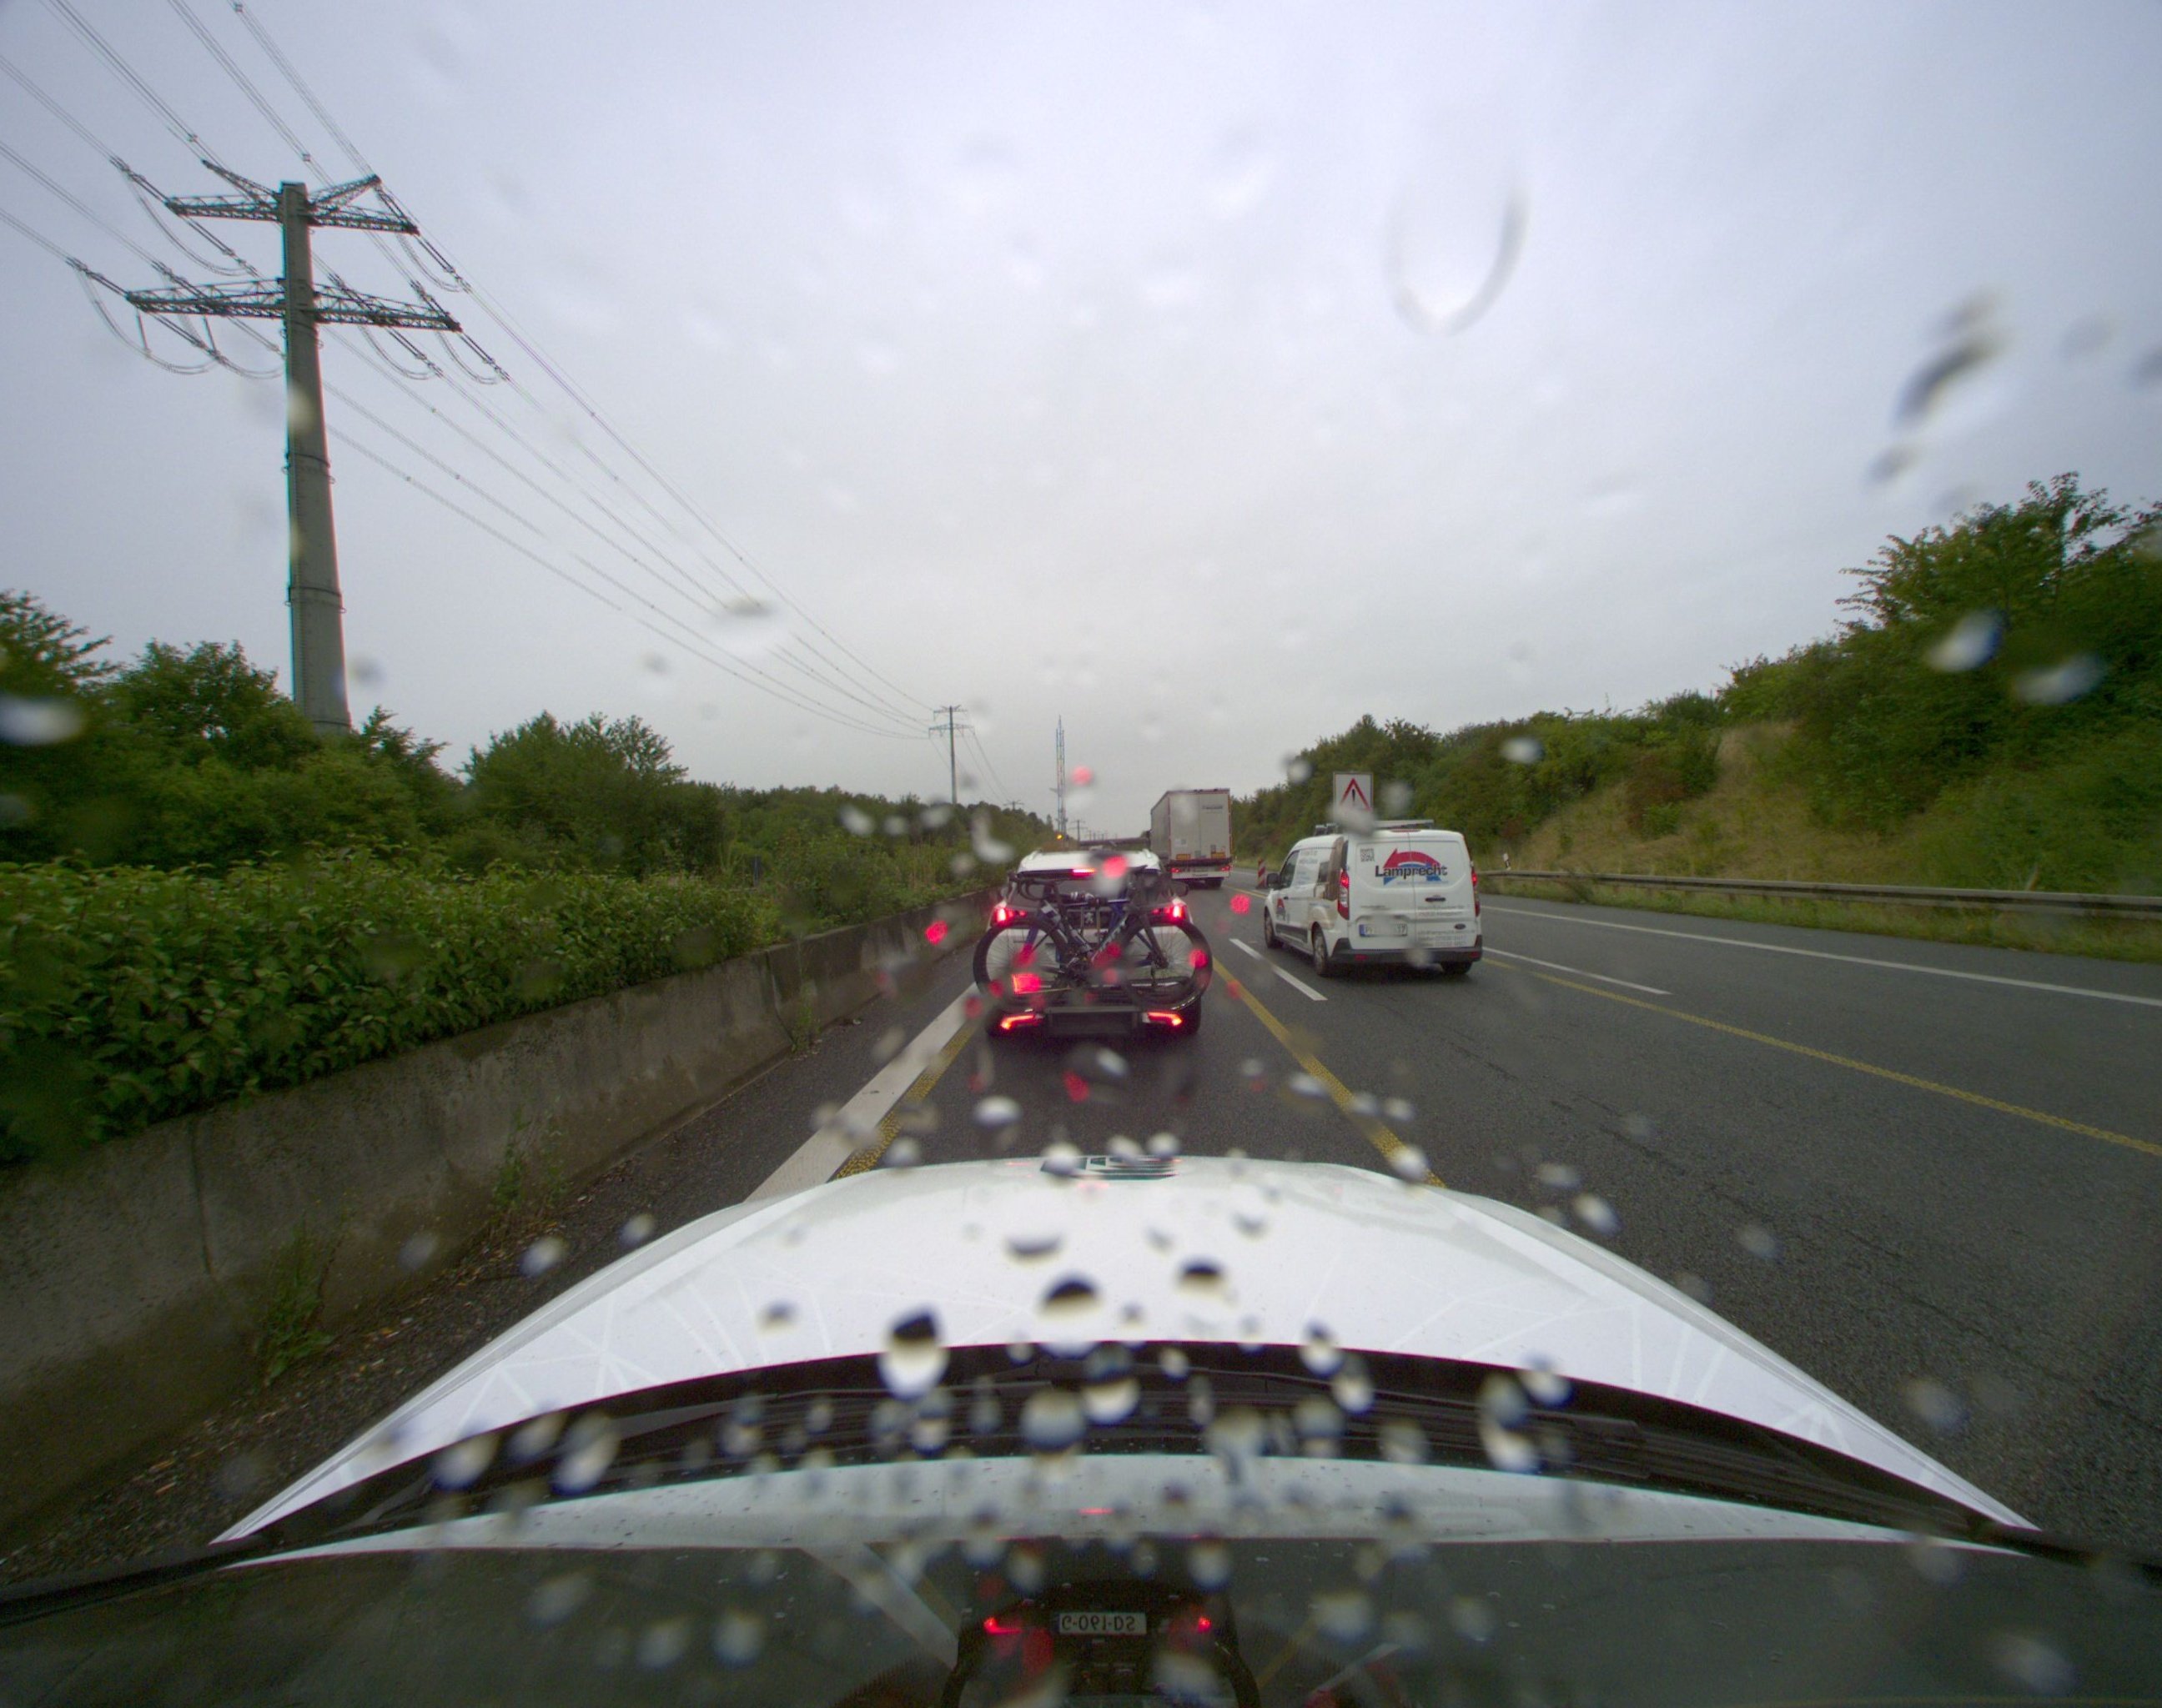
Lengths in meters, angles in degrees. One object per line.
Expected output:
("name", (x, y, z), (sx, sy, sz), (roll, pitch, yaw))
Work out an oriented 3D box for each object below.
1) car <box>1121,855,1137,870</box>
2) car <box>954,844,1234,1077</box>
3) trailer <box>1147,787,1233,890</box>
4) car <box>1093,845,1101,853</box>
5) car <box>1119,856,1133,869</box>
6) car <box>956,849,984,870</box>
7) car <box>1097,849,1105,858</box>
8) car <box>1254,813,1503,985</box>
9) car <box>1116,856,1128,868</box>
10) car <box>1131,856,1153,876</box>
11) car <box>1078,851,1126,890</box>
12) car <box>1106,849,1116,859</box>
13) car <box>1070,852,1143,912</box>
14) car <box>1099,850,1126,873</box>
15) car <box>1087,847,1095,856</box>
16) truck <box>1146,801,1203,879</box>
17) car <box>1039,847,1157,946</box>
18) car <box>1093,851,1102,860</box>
("car", (6.905, 1.196, 116.510), (2.140, 1.973, 4.002), (-1, 1, 2))
("car", (0.162, 0.711, 7.839), (1.843, 1.531, 4.770), (-1, 0, 2))
("trailer", (4.940, -0.637, 39.604), (2.682, 4.076, 13.639), (-1, 0, 2))
("car", (4.041, -1.223, 200.067), (1.924, 1.973, 4.002), (-1, 1, 2))
("car", (7.174, 1.357, 131.235), (2.140, 1.973, 4.002), (-1, 1, 2))
("car", (-12.411, 0.604, 91.458), (2.172, 2.265, 5.206), (-1, 0, 2))
("car", (4.602, -0.213, 187.314), (1.924, 1.910, 4.002), (-1, 1, 2))
("car", (3.737, 0.493, 11.206), (1.822, 1.839, 4.657), (-1, 0, 2))
("car", (7.293, 1.467, 145.084), (2.140, 1.973, 4.002), (-1, 1, 2))
("car", (6.530, 1.292, 87.396), (2.102, 1.973, 4.002), (-1, 1, 2))
("car", (0.900, 0.646, 34.055), (1.843, 1.531, 4.002), (-1, 0, 2))
("car", (6.210, -0.061, 167.121), (1.924, 1.973, 4.002), (-1, 1, 2))
("car", (0.728, 0.729, 23.167), (1.843, 1.531, 4.002), (-1, 0, 2))
("car", (2.258, 0.515, 58.483), (1.843, 1.531, 4.002), (-1, 0, 2))
("car", (2.925, -0.841, 234.036), (2.249, 2.424, 4.002), (-1, 1, 2))
("truck", (5.206, -0.753, 46.340), (2.650, 4.076, 6.541), (-1, 0, 2))
("car", (0.332, 0.670, 14.840), (1.843, 1.531, 4.002), (-1, 0, 2))
("car", (3.981, 0.266, 194.261), (1.924, 1.973, 4.002), (-1, 1, 2))
